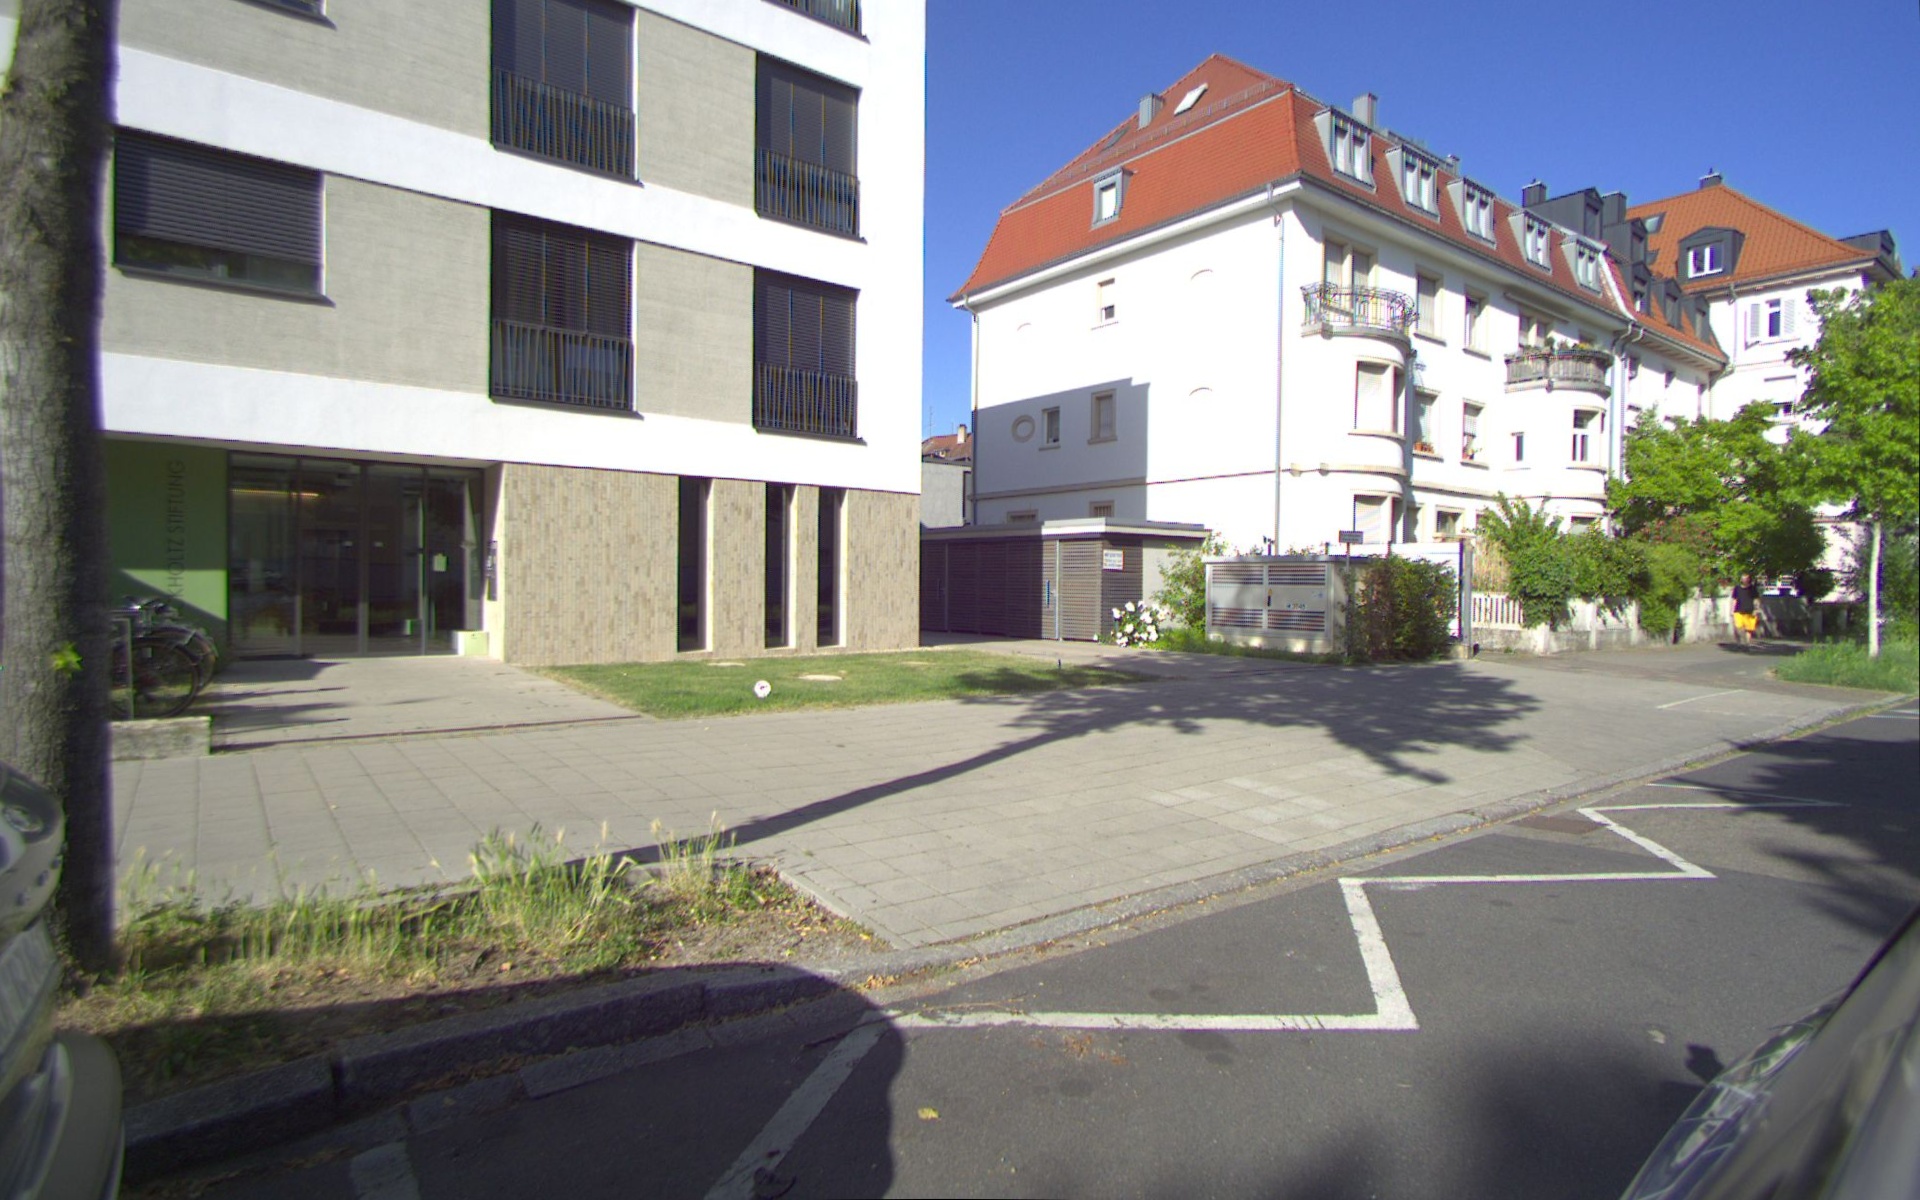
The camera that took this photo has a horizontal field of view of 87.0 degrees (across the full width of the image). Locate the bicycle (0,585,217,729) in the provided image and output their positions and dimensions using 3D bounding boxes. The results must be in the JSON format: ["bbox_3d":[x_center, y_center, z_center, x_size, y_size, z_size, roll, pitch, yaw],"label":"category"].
[{"bbox_3d":[-7.001,0.419,8.106,1.661,1.068,0.547,-1,2,-40],"label":"bicycle"}]

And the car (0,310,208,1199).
[{"bbox_3d":[-2.975,0.617,0.330,4.328,1.651,1.854,-1,1,-36],"label":"car"}]

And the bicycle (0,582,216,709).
[{"bbox_3d":[-7.845,0.377,9.181,1.748,1.068,0.547,-1,2,-40],"label":"bicycle"}]

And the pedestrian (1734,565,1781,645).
[{"bbox_3d":[18.503,0.105,23.479,0.785,1.797,0.624,0,2,-37],"label":"pedestrian"}]
